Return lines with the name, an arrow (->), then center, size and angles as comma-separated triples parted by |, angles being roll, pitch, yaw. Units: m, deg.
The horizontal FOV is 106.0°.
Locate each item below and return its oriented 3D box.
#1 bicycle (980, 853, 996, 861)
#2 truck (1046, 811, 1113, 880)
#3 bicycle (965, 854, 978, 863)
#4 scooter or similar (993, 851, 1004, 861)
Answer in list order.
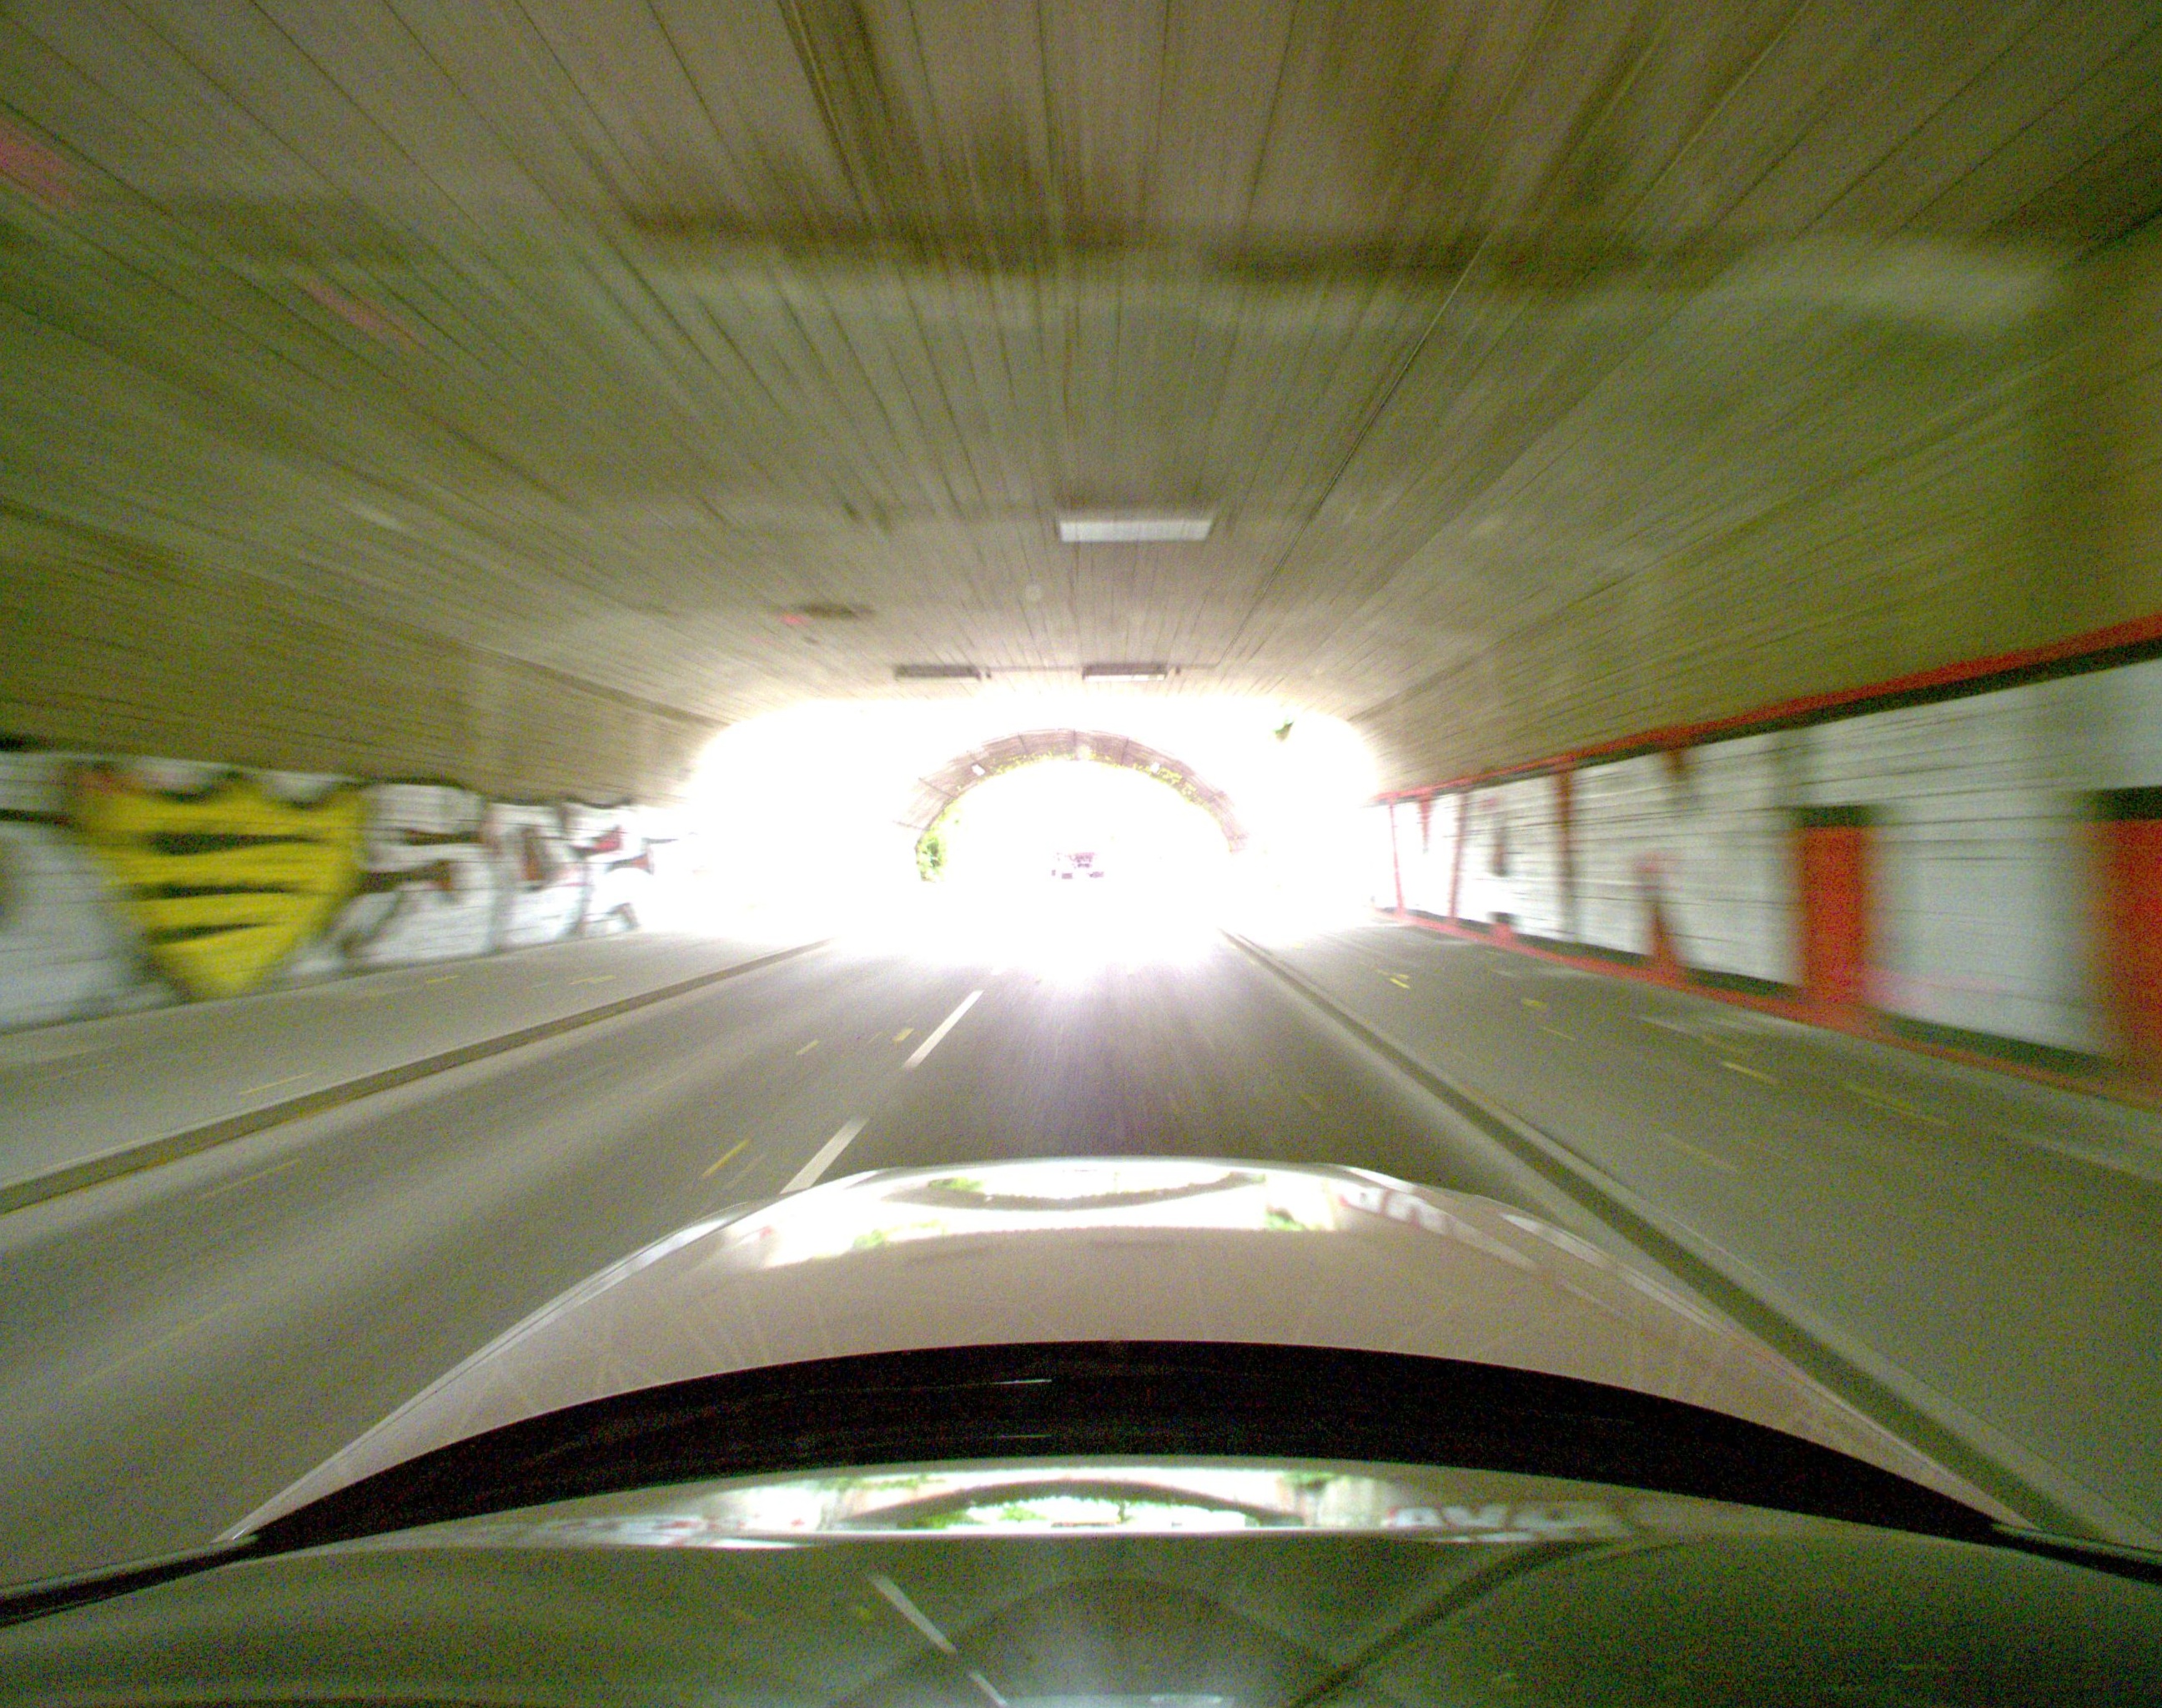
bicycle -> -11.760, 0.333, 103.377 | 1.981, 0.865, 0.505 | 5, -2, -38
truck -> -0.240, -0.561, 46.438 | 2.762, 3.483, 8.110 | -2, 2, -7
bicycle -> -13.982, 0.560, 103.738 | 1.492, 0.989, 0.690 | 3, -1, -20
scooter or similar -> -10.414, 0.250, 102.700 | 1.196, 1.206, 0.463 | 4, -2, -35
